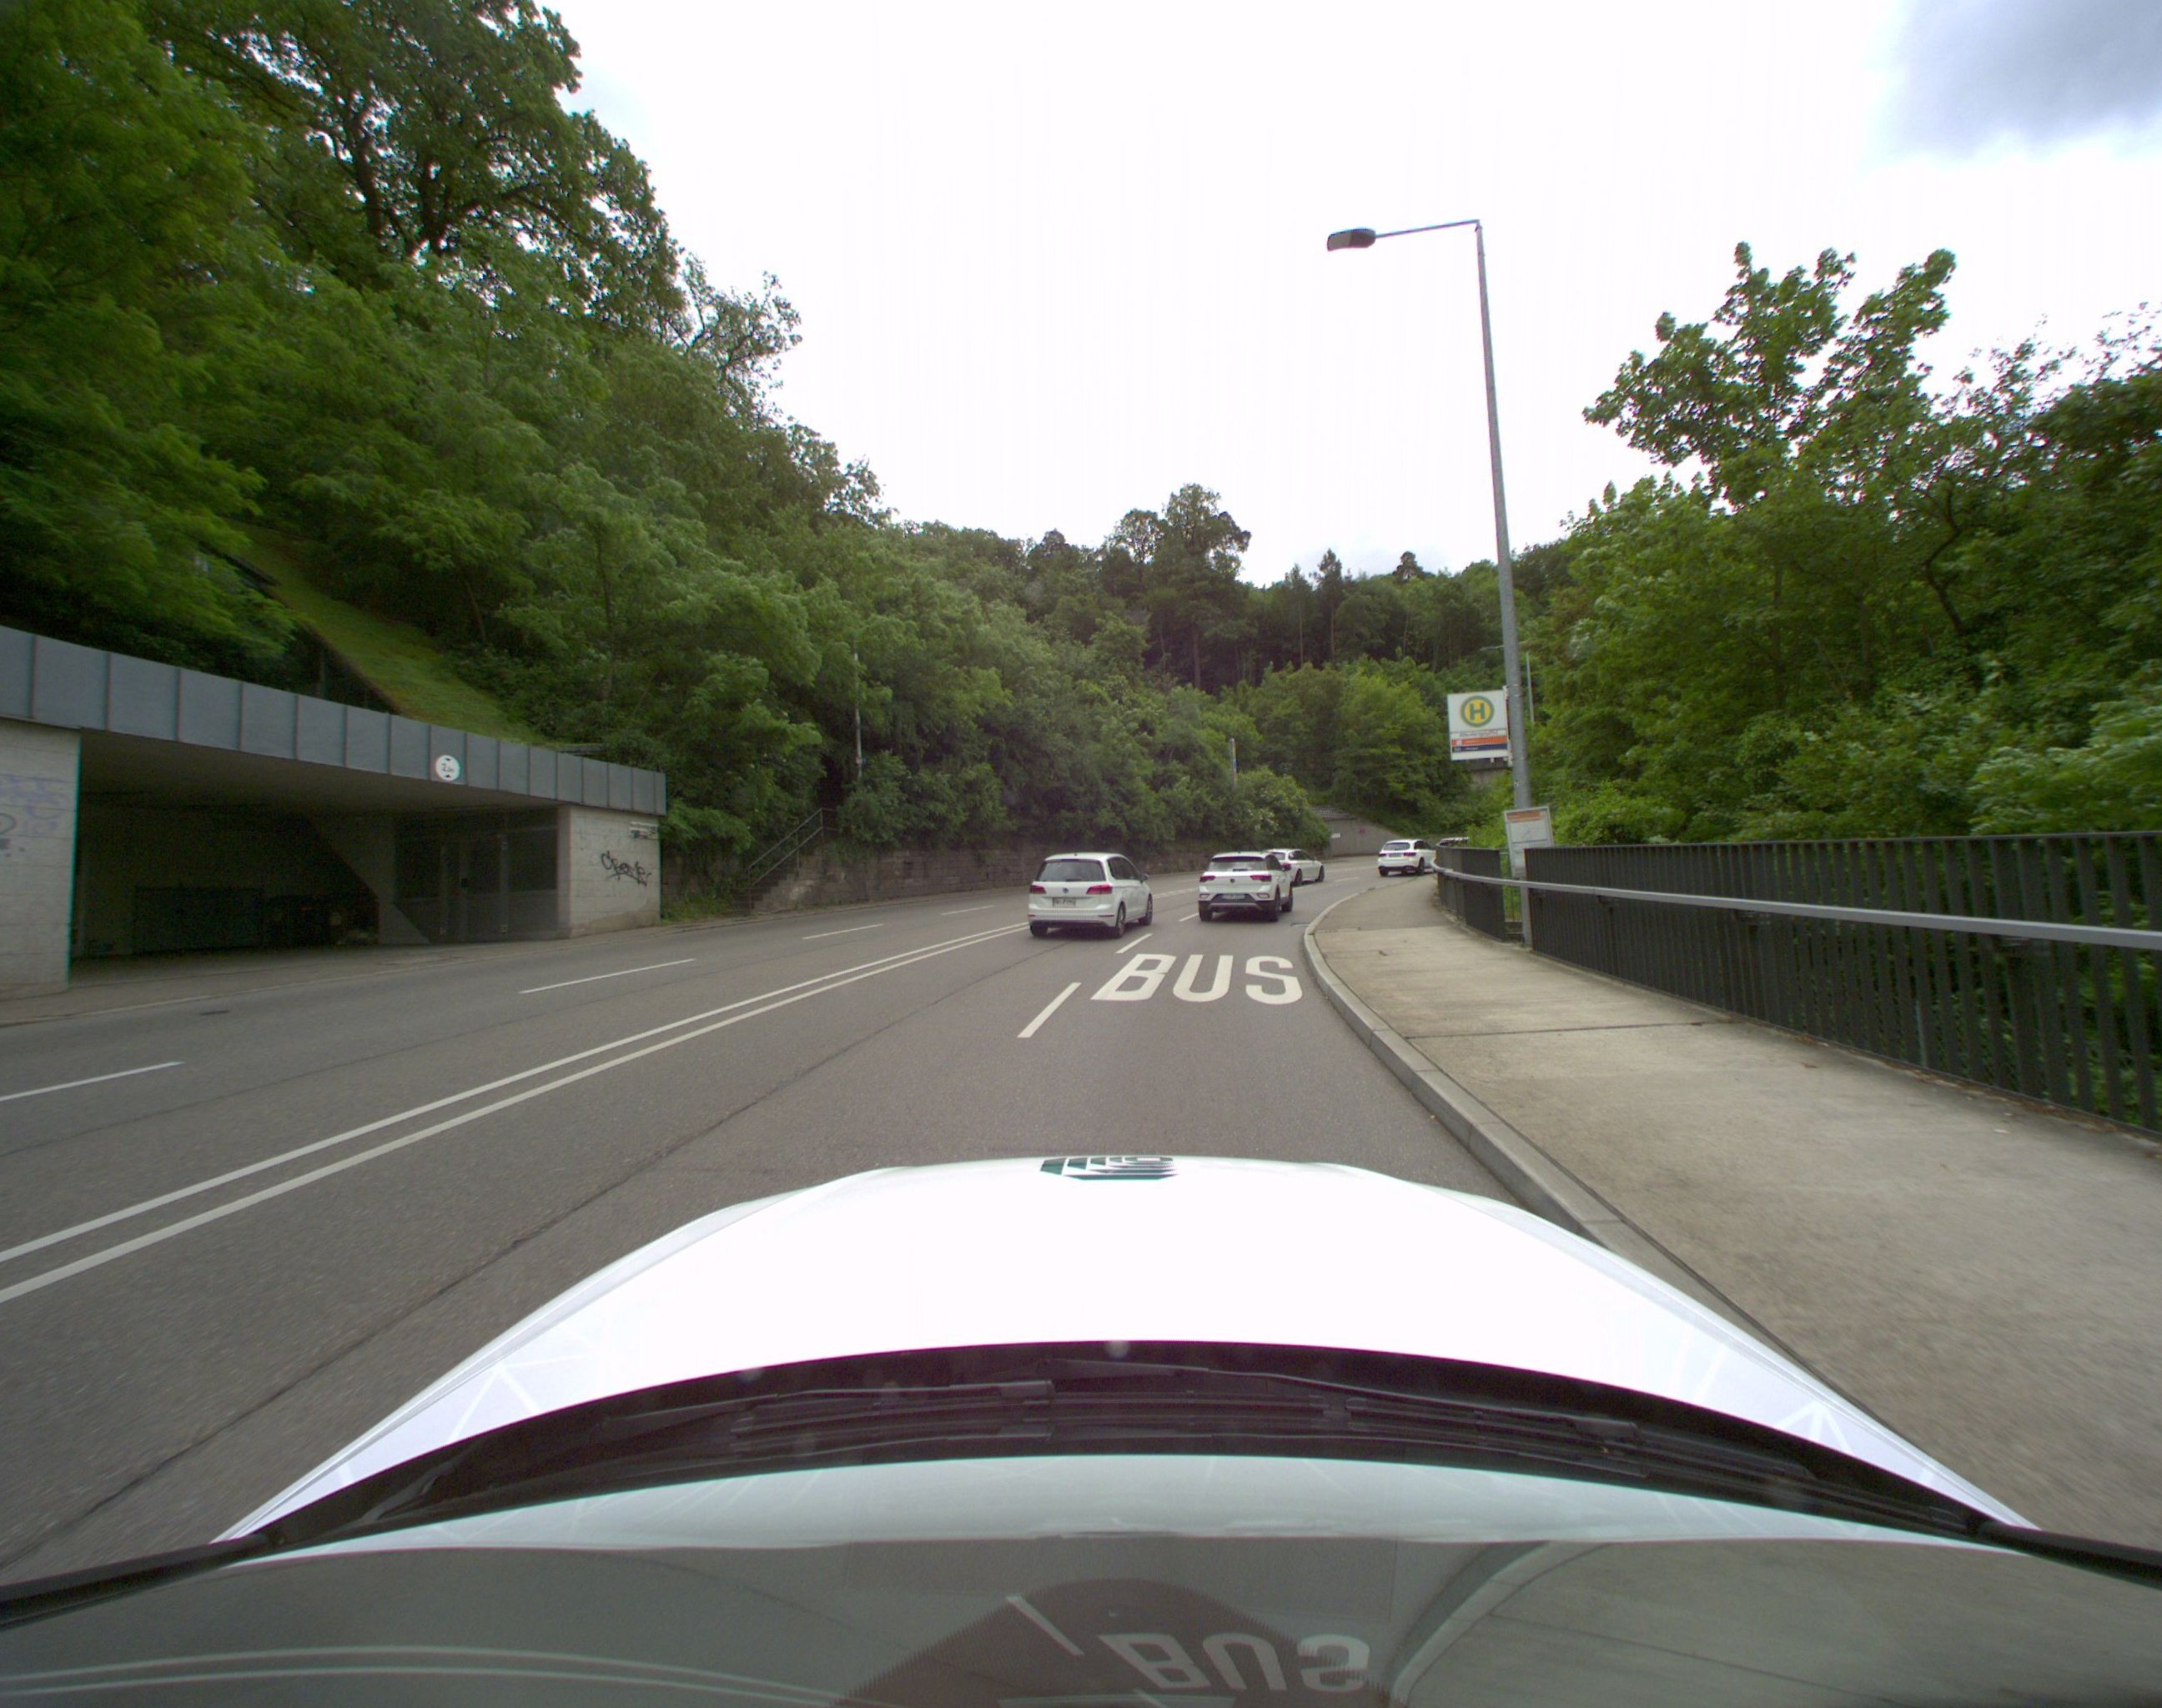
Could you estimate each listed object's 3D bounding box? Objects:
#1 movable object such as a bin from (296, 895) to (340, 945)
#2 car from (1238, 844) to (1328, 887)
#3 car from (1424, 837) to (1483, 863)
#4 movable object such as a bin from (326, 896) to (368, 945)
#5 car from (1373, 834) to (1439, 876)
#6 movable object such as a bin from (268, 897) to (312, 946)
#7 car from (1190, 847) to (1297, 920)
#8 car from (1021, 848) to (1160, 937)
[{"bbox_3d":[-16.086,1.385,17.170,0.423,0.997,0.512,0,-1,21],"label":"movable object such as a bin"},{"bbox_3d":[8.289,0.407,33.150,1.974,1.557,4.711,2,1,35],"label":"car"},{"bbox_3d":[23.875,-0.226,52.151,4.330,1.519,1.726,1,-1,-40],"label":"car"},{"bbox_3d":[-15.529,1.392,17.241,0.423,0.997,0.501,0,-1,21],"label":"movable object such as a bin"},{"bbox_3d":[15.104,0.066,37.672,1.974,1.843,4.176,0,-1,34],"label":"car"},{"bbox_3d":[-16.795,1.419,17.295,0.492,0.997,0.481,0,-1,21],"label":"movable object such as a bin"},{"bbox_3d":[3.996,0.644,19.518,1.798,1.539,4.029,-2,0,21],"label":"car"},{"bbox_3d":[0.344,0.675,16.491,1.707,1.554,4.293,-1,0,16],"label":"car"}]
